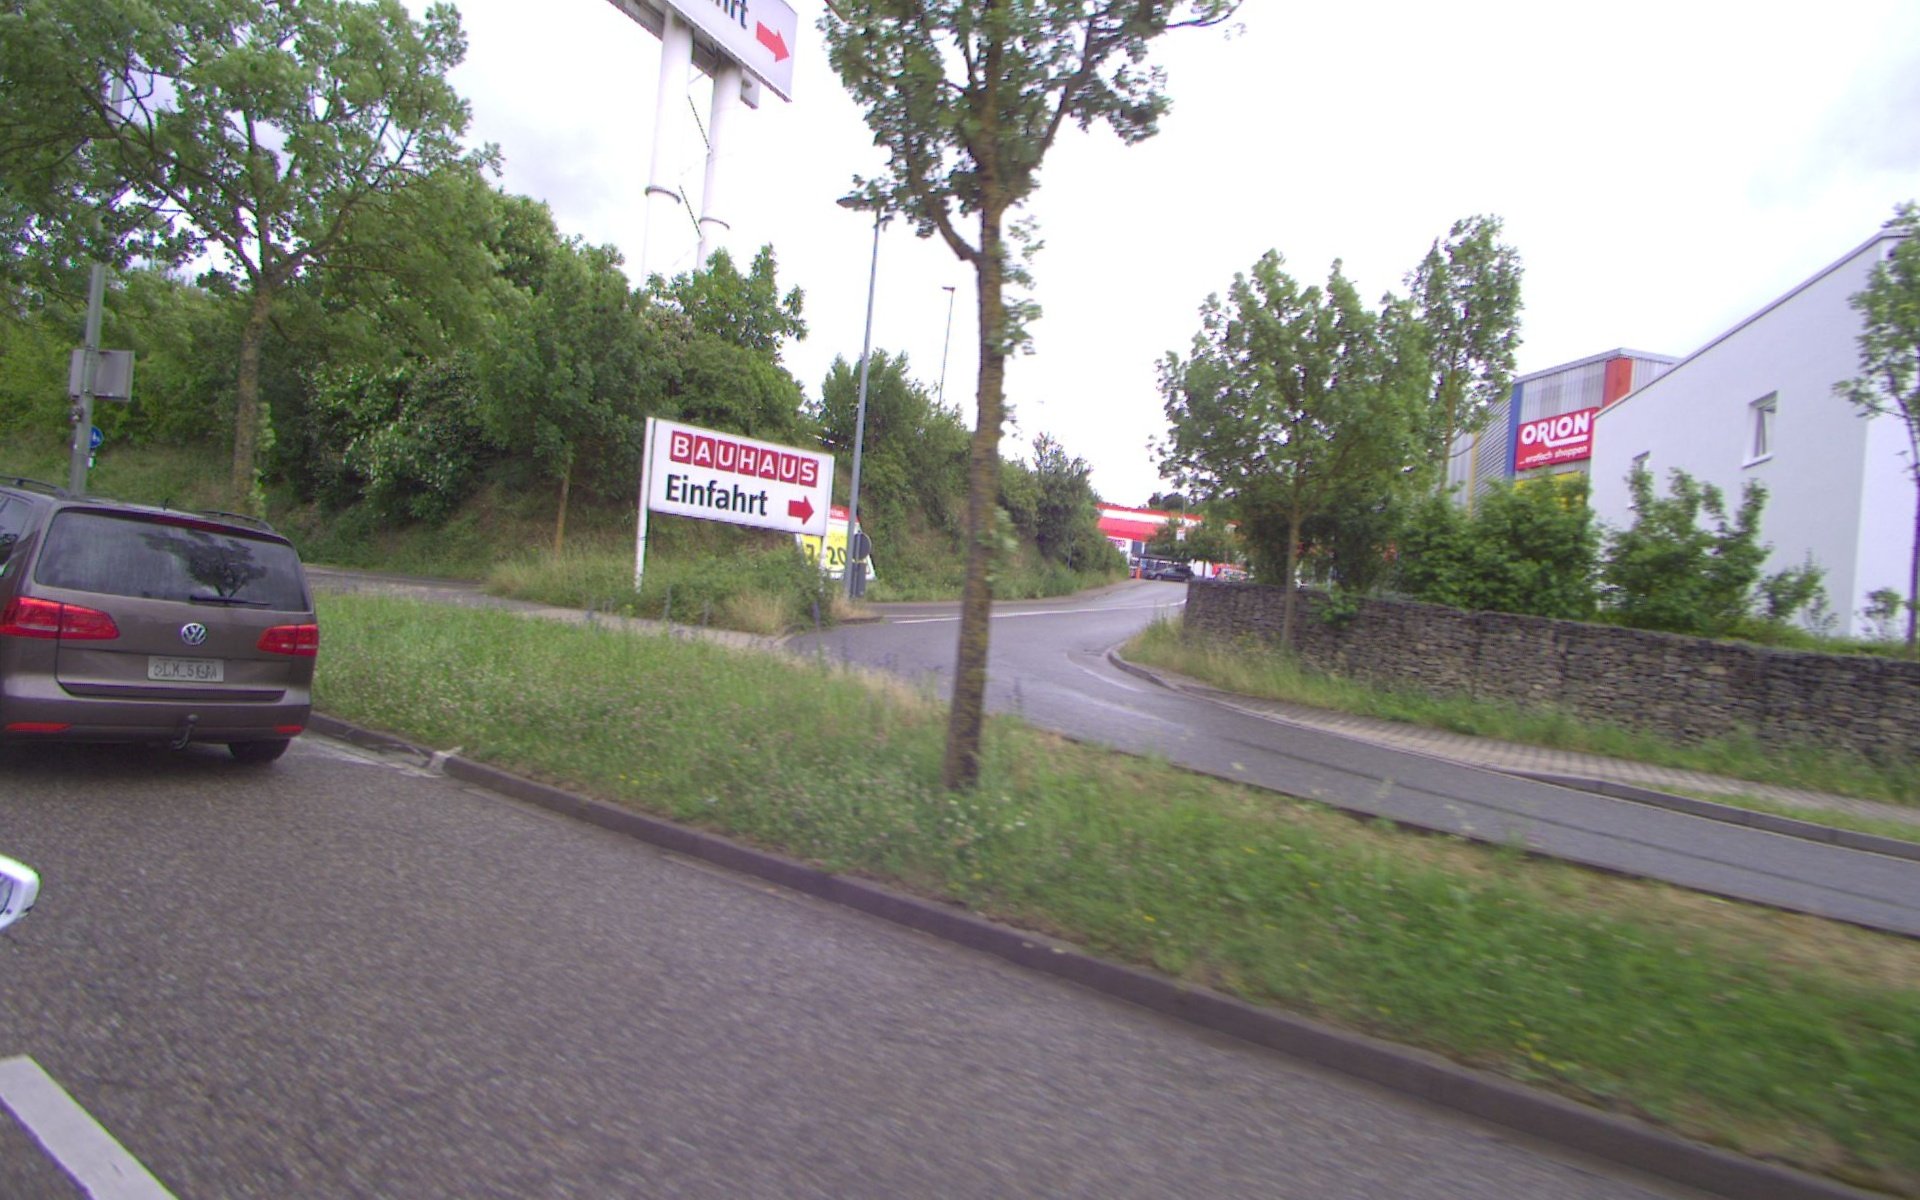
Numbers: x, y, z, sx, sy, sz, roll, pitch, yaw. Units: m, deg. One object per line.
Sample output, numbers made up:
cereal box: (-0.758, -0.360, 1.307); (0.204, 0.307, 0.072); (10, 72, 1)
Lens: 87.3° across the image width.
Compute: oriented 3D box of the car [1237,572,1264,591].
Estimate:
car: (26.200, -1.694, 90.832); (1.765, 1.531, 3.995); (5, 3, 10)

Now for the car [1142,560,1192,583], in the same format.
car: (18.914, -2.583, 92.057); (3.936, 1.626, 1.844); (5, 4, -16)

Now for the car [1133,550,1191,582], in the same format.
car: (18.908, -3.166, 94.280); (4.698, 2.501, 1.847); (5, 4, -10)

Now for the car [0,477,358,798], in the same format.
car: (-6.122, 0.065, 6.760); (4.148, 1.599, 1.688); (7, -1, 31)

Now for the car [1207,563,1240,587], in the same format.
car: (19.865, -1.925, 75.932); (1.961, 1.639, 3.995); (5, 3, 10)
